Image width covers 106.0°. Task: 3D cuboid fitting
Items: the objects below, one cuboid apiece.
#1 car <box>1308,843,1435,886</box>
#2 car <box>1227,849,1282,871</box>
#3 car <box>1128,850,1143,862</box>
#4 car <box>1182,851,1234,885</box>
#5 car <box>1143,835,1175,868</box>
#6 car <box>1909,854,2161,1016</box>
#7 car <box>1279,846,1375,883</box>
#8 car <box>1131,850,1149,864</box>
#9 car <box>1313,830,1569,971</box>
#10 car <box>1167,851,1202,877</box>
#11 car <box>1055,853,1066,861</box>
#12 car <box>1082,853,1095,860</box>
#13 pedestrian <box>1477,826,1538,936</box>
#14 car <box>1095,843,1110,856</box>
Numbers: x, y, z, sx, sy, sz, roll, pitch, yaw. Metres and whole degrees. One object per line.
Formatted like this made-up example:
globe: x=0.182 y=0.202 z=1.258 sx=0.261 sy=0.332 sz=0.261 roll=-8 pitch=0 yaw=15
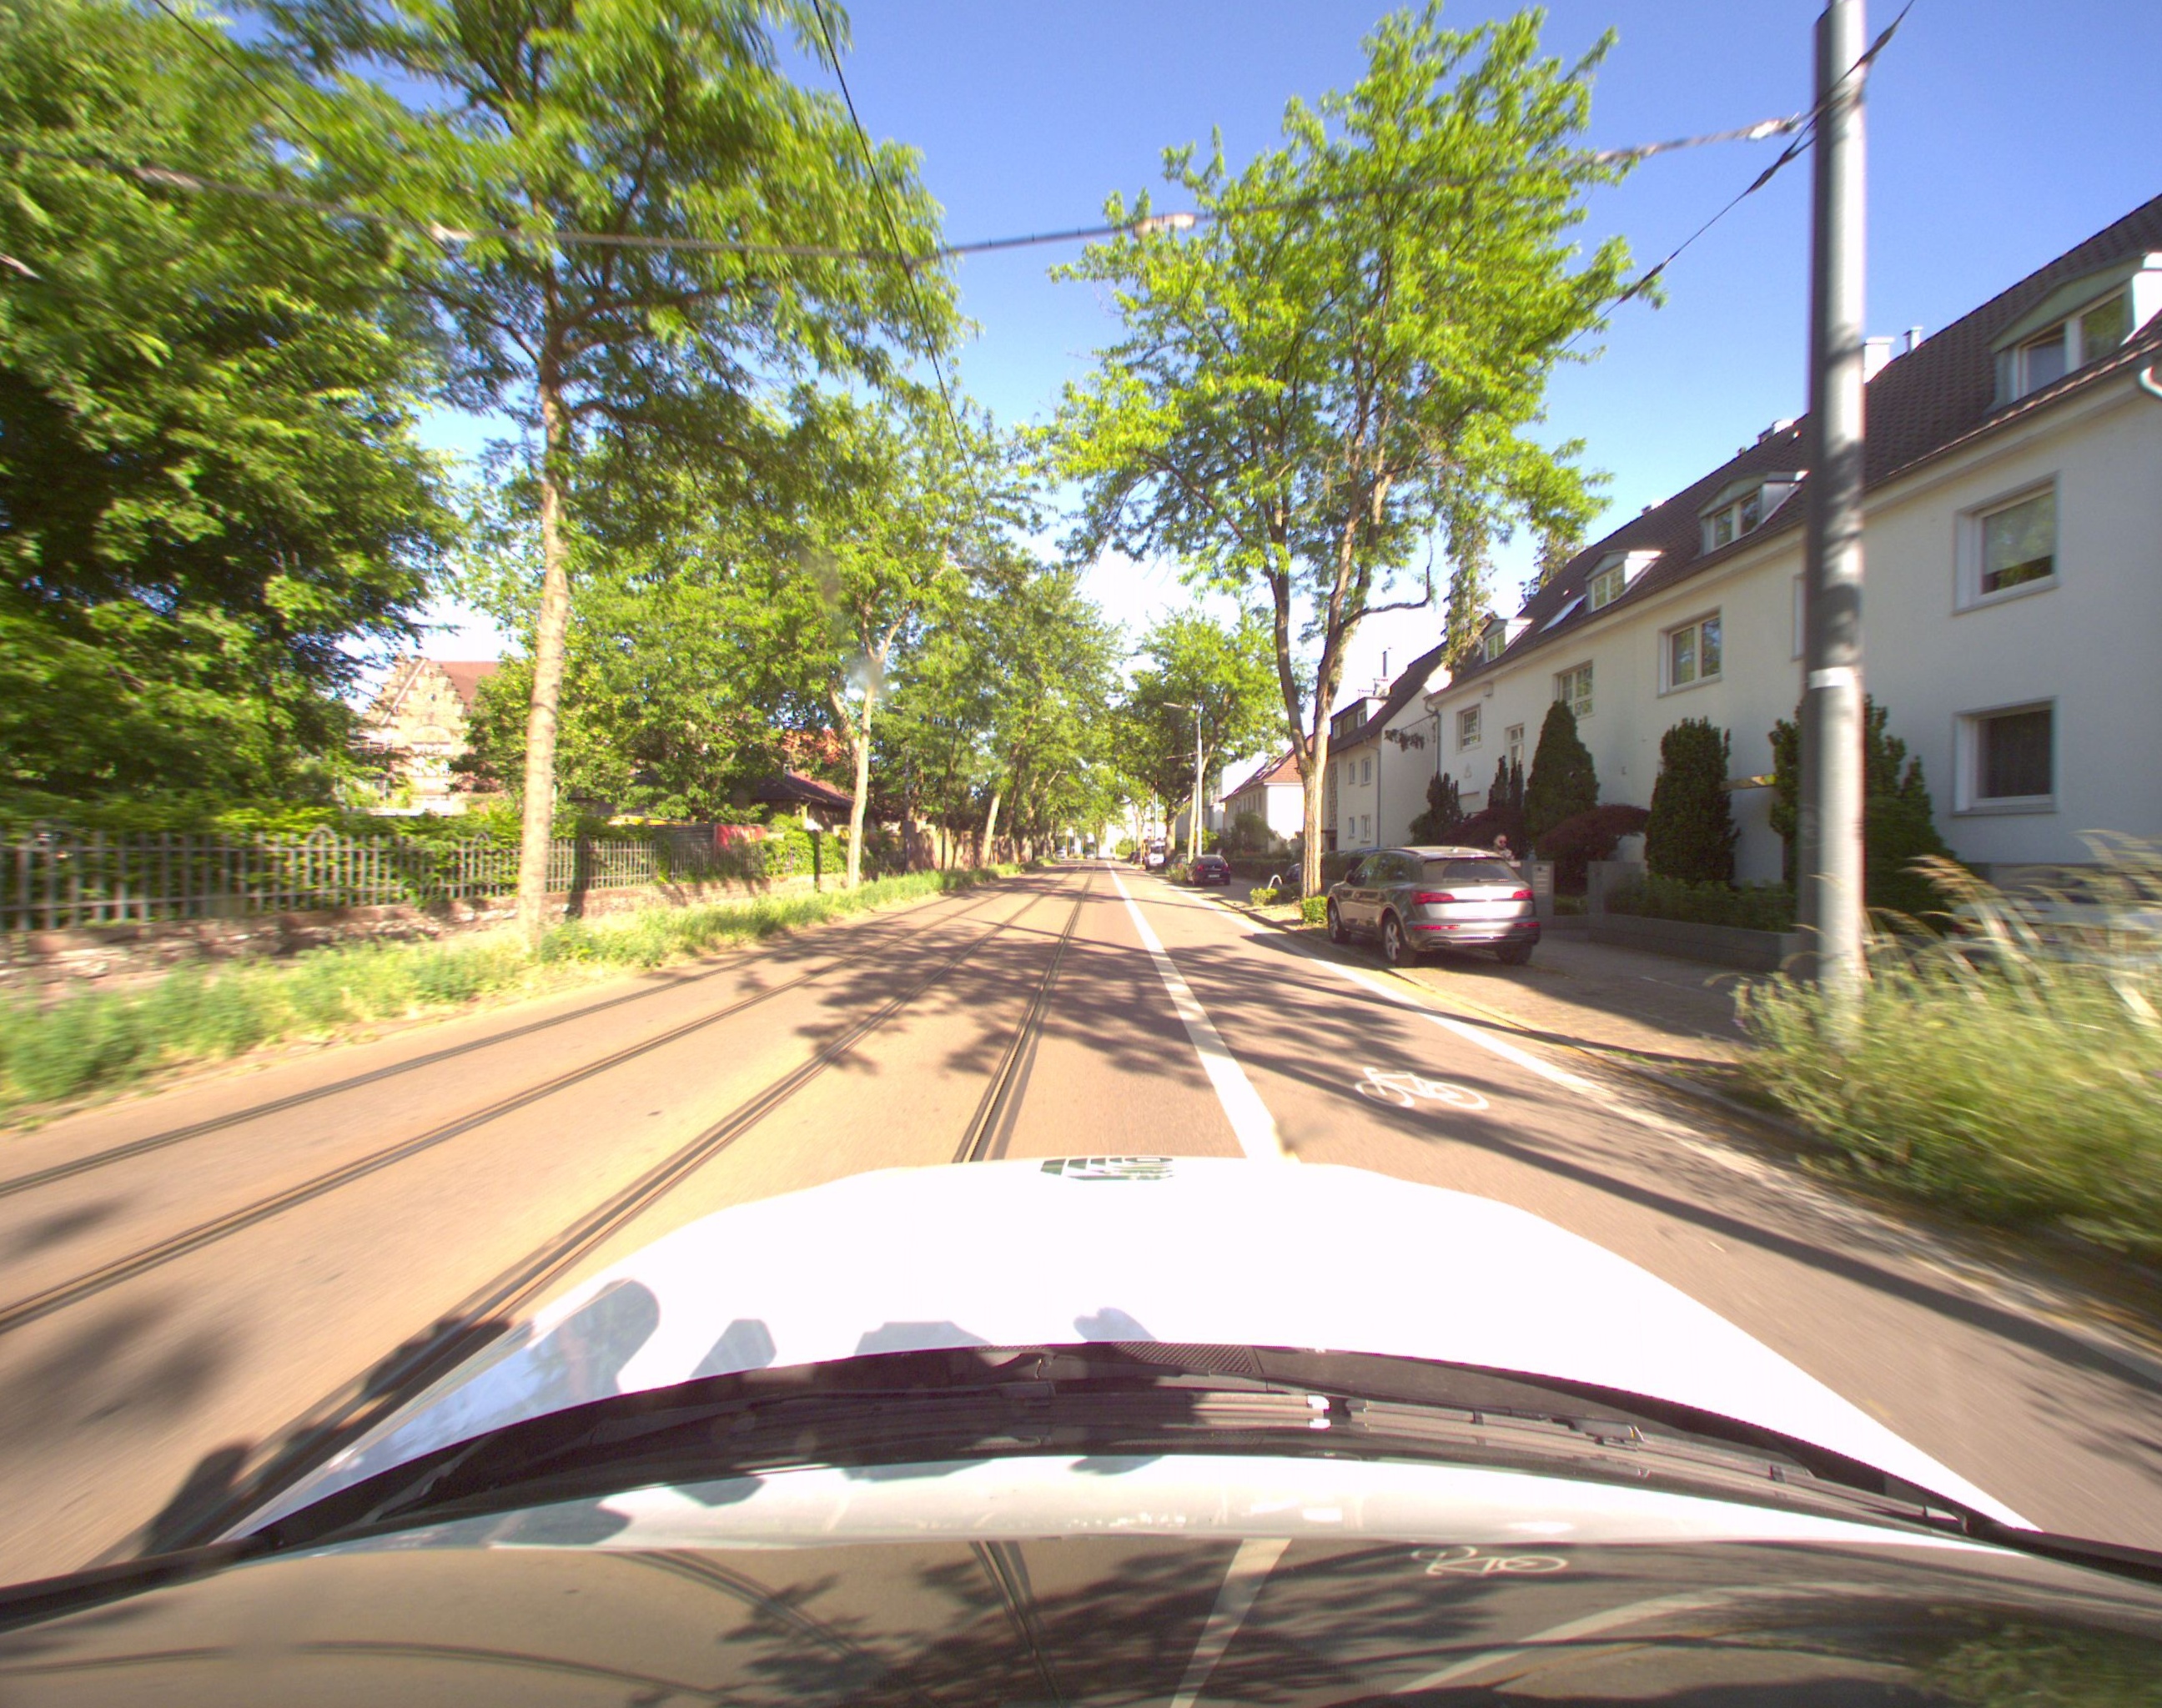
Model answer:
car: x=11.470 y=0.413 z=32.396 sx=4.402 sy=1.489 sz=1.860 roll=-2 pitch=0 yaw=4
car: x=12.439 y=0.428 z=58.447 sx=3.400 sy=1.436 sz=1.727 roll=-1 pitch=0 yaw=-12
car: x=8.071 y=0.327 z=119.834 sx=1.993 sy=1.675 sz=4.399 roll=-2 pitch=0 yaw=5
car: x=6.028 y=0.647 z=39.138 sx=1.778 sy=1.448 sz=4.300 roll=-3 pitch=0 yaw=0
car: x=6.677 y=-0.230 z=70.328 sx=2.237 sy=2.654 sz=5.586 roll=-1 pitch=0 yaw=1
car: x=10.852 y=0.679 z=7.759 sx=4.036 sy=1.342 sz=1.878 roll=0 pitch=0 yaw=1
car: x=10.919 y=0.452 z=36.310 sx=3.731 sy=1.489 sz=1.737 roll=-1 pitch=0 yaw=-5
car: x=7.432 y=0.398 z=102.335 sx=1.996 sy=1.675 sz=4.393 roll=-2 pitch=0 yaw=1
car: x=5.262 y=0.587 z=12.682 sx=1.987 sy=1.704 sz=4.477 roll=-3 pitch=0 yaw=1
car: x=6.169 y=0.574 z=48.715 sx=1.621 sy=1.397 sz=3.646 roll=-3 pitch=0 yaw=1
car: x=-4.517 y=0.624 z=180.140 sx=1.865 sy=1.675 sz=4.160 roll=0 pitch=0 yaw=-9
car: x=1.587 y=0.505 z=173.660 sx=2.004 sy=1.560 sz=4.376 roll=0 pitch=0 yaw=-11
pedestrian: x=7.504 y=0.458 z=14.361 sx=0.623 sy=1.870 sz=0.732 roll=-3 pitch=0 yaw=0
car: x=4.103 y=-0.858 z=156.004 sx=1.995 sy=2.458 sz=4.491 roll=0 pitch=0 yaw=-11
